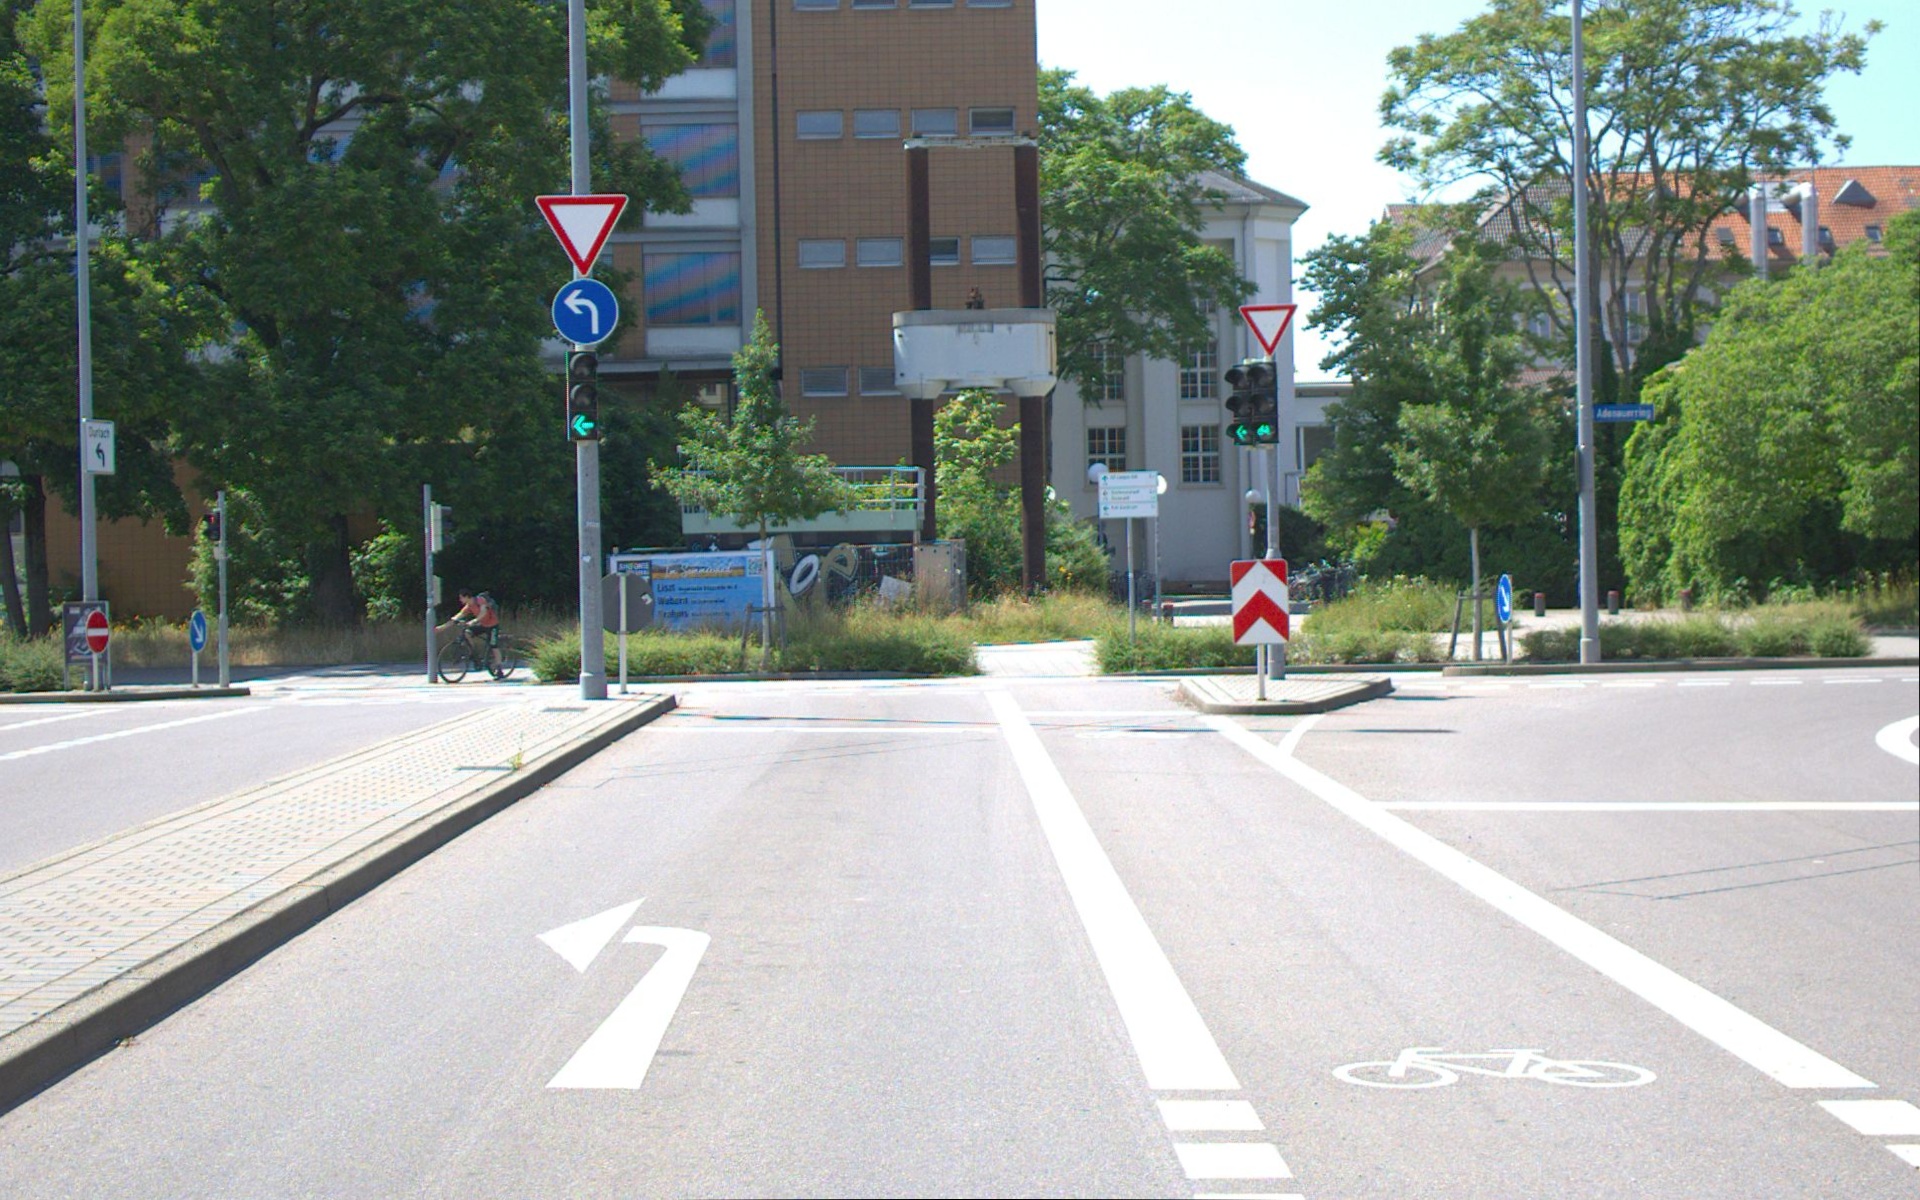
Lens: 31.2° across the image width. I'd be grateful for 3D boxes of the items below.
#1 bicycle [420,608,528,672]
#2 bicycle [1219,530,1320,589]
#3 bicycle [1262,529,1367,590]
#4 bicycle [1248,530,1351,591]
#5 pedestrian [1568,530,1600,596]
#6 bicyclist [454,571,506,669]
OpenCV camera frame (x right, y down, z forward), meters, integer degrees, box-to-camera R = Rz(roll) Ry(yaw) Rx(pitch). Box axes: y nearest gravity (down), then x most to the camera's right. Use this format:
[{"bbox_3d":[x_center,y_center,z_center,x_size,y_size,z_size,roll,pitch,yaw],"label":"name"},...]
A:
[{"bbox_3d":[-8.602,0.698,60.938,0.558,1.042,1.992,1,2,41],"label":"bicycle"},{"bbox_3d":[10.790,-1.417,119.891,3.447,2.007,0.760,1,0,2],"label":"bicycle"},{"bbox_3d":[12.038,-1.367,116.734,3.447,2.007,0.760,1,0,2],"label":"bicycle"},{"bbox_3d":[11.629,-1.352,117.832,3.447,2.007,0.760,1,0,2],"label":"bicycle"},{"bbox_3d":[15.692,-0.932,86.509,0.639,1.660,0.707,1,0,-1],"label":"pedestrian"},{"bbox_3d":[-8.518,0.343,61.002,0.551,1.710,0.701,1,2,41],"label":"bicyclist"}]
